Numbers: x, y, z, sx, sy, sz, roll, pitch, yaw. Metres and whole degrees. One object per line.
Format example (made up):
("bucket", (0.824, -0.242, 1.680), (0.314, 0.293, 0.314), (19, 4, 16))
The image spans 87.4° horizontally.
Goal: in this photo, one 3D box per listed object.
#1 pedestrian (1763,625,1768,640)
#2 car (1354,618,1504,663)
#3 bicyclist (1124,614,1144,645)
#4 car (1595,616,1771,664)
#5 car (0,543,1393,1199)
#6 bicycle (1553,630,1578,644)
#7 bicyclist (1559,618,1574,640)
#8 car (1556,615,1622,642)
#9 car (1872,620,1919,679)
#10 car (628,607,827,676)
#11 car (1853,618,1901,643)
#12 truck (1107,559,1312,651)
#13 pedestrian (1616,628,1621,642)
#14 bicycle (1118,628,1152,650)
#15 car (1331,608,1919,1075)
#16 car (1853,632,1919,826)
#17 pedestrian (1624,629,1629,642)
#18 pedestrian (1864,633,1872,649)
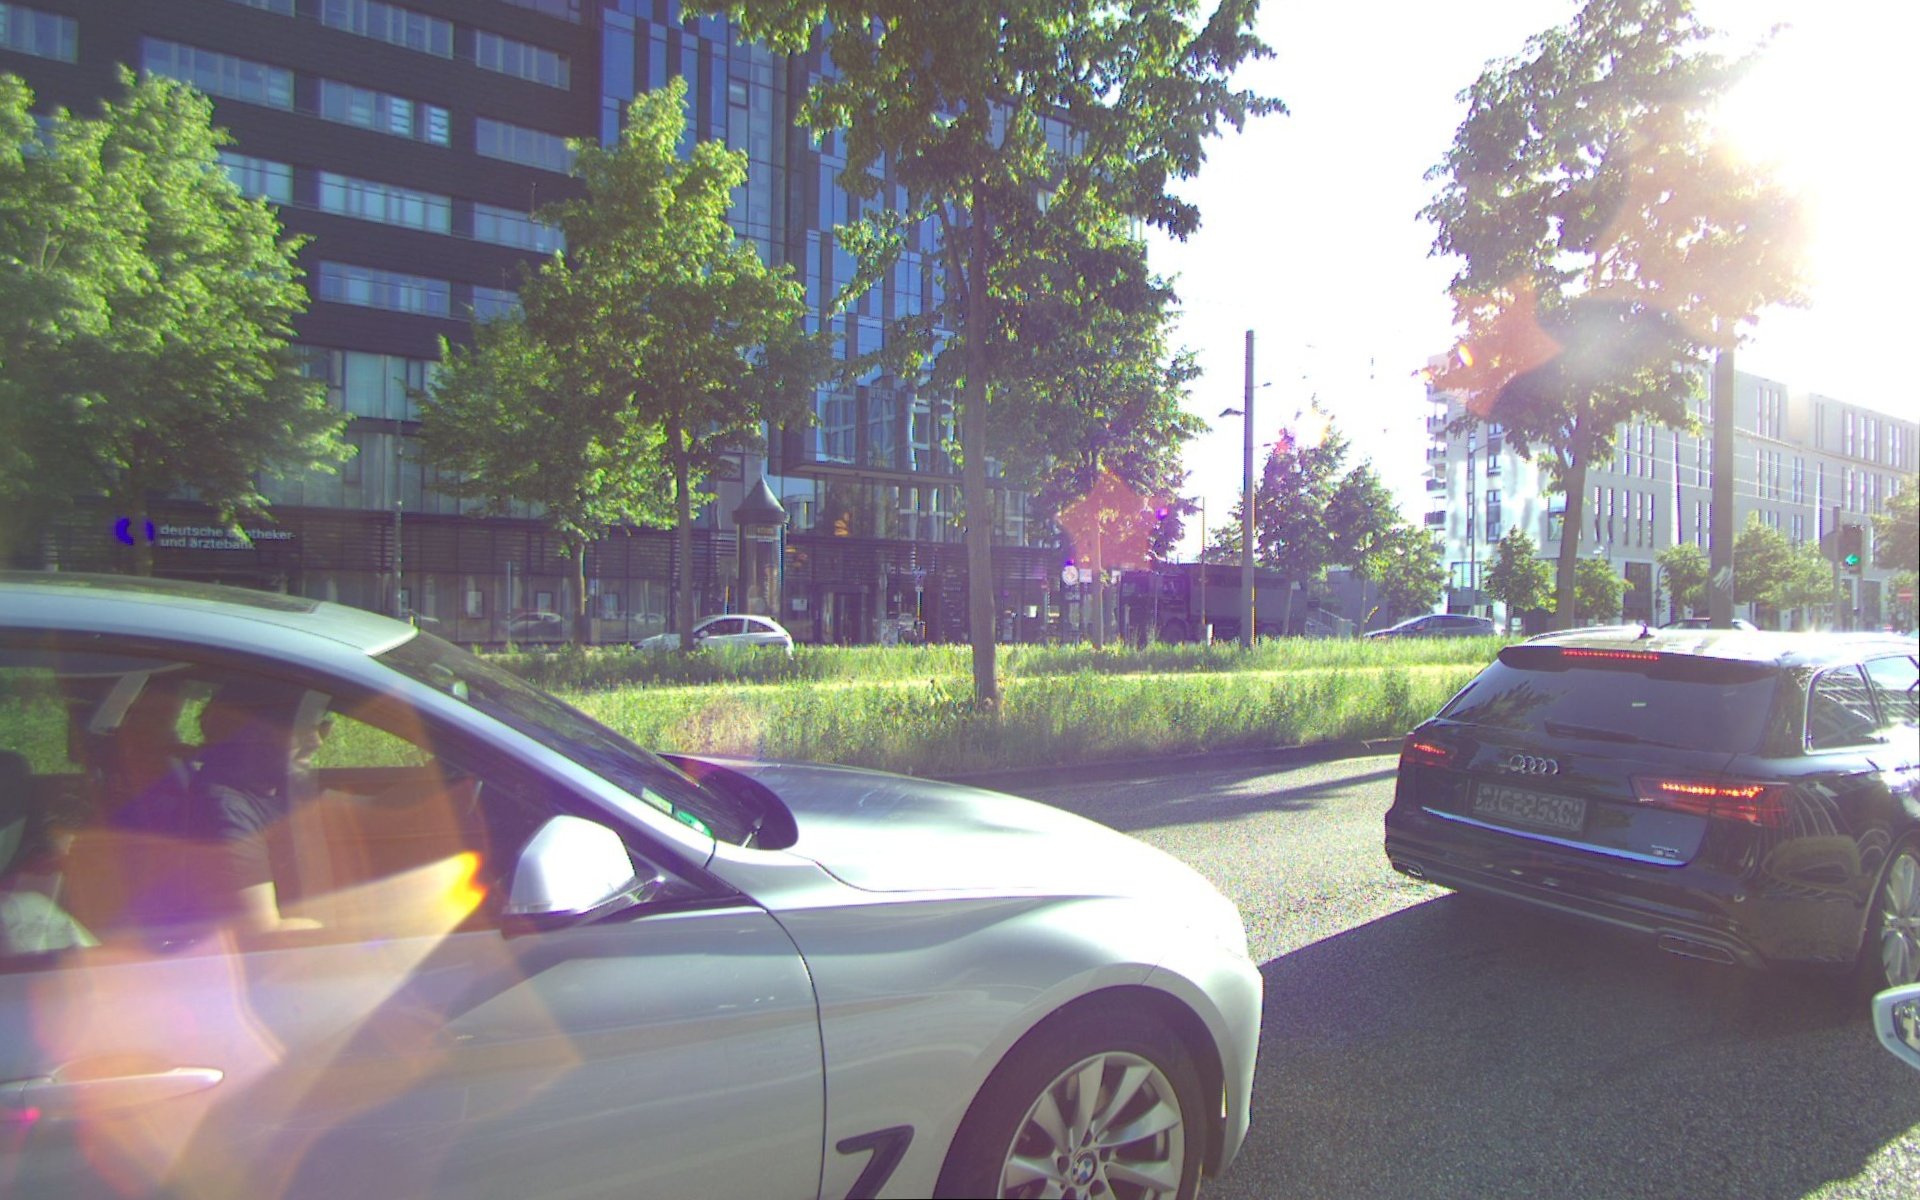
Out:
("pedestrian", (76.252, 3.062, 95.131), (0.275, 1.373, 0.295), (1, 0, -30))
("car", (16.624, 1.426, 35.799), (4.476, 1.467, 1.806), (1, -1, 6))
("bicyclist", (8.386, 1.421, 48.460), (0.811, 1.443, 0.475), (1, -1, -30))
("car", (24.268, 1.289, 33.914), (1.783, 1.467, 4.534), (1, -1, -28))
("car", (-1.348, 0.696, 2.015), (4.509, 1.504, 1.810), (1, -1, -31))
("bicycle", (43.373, 2.663, 71.924), (1.933, 1.001, 0.673), (1, -1, -31))
("bicyclist", (43.424, 2.090, 71.952), (0.706, 1.549, 0.674), (1, 0, -30))
("car", (37.523, 1.690, 59.897), (3.953, 1.540, 1.756), (1, -1, -30))
("car", (25.315, 1.270, 25.670), (1.490, 1.512, 4.215), (1, -1, 20))
("car", (-5.794, 1.012, 25.189), (4.517, 1.503, 1.789), (1, 3, -32))
("car", (78.090, 2.602, 85.517), (3.953, 2.040, 1.984), (1, -1, -30))
("truck", (11.688, 0.301, 46.491), (10.094, 3.904, 2.877), (1, -1, -31))
("pedestrian", (53.377, 2.828, 81.424), (0.257, 1.100, 0.252), (1, 0, -30))
("bicycle", (8.441, 1.883, 48.497), (1.735, 1.049, 0.475), (1, -1, -31))
("car", (4.366, 0.836, 5.344), (4.911, 1.504, 1.864), (1, -1, -32))
("car", (9.321, 1.013, 8.189), (4.288, 1.445, 1.833), (1, -1, -30))
("pedestrian", (53.690, 2.853, 80.911), (0.286, 1.100, 0.252), (1, 0, -30))
("pedestrian", (96.391, 4.356, 106.646), (0.474, 1.767, 0.466), (1, 0, -30))
